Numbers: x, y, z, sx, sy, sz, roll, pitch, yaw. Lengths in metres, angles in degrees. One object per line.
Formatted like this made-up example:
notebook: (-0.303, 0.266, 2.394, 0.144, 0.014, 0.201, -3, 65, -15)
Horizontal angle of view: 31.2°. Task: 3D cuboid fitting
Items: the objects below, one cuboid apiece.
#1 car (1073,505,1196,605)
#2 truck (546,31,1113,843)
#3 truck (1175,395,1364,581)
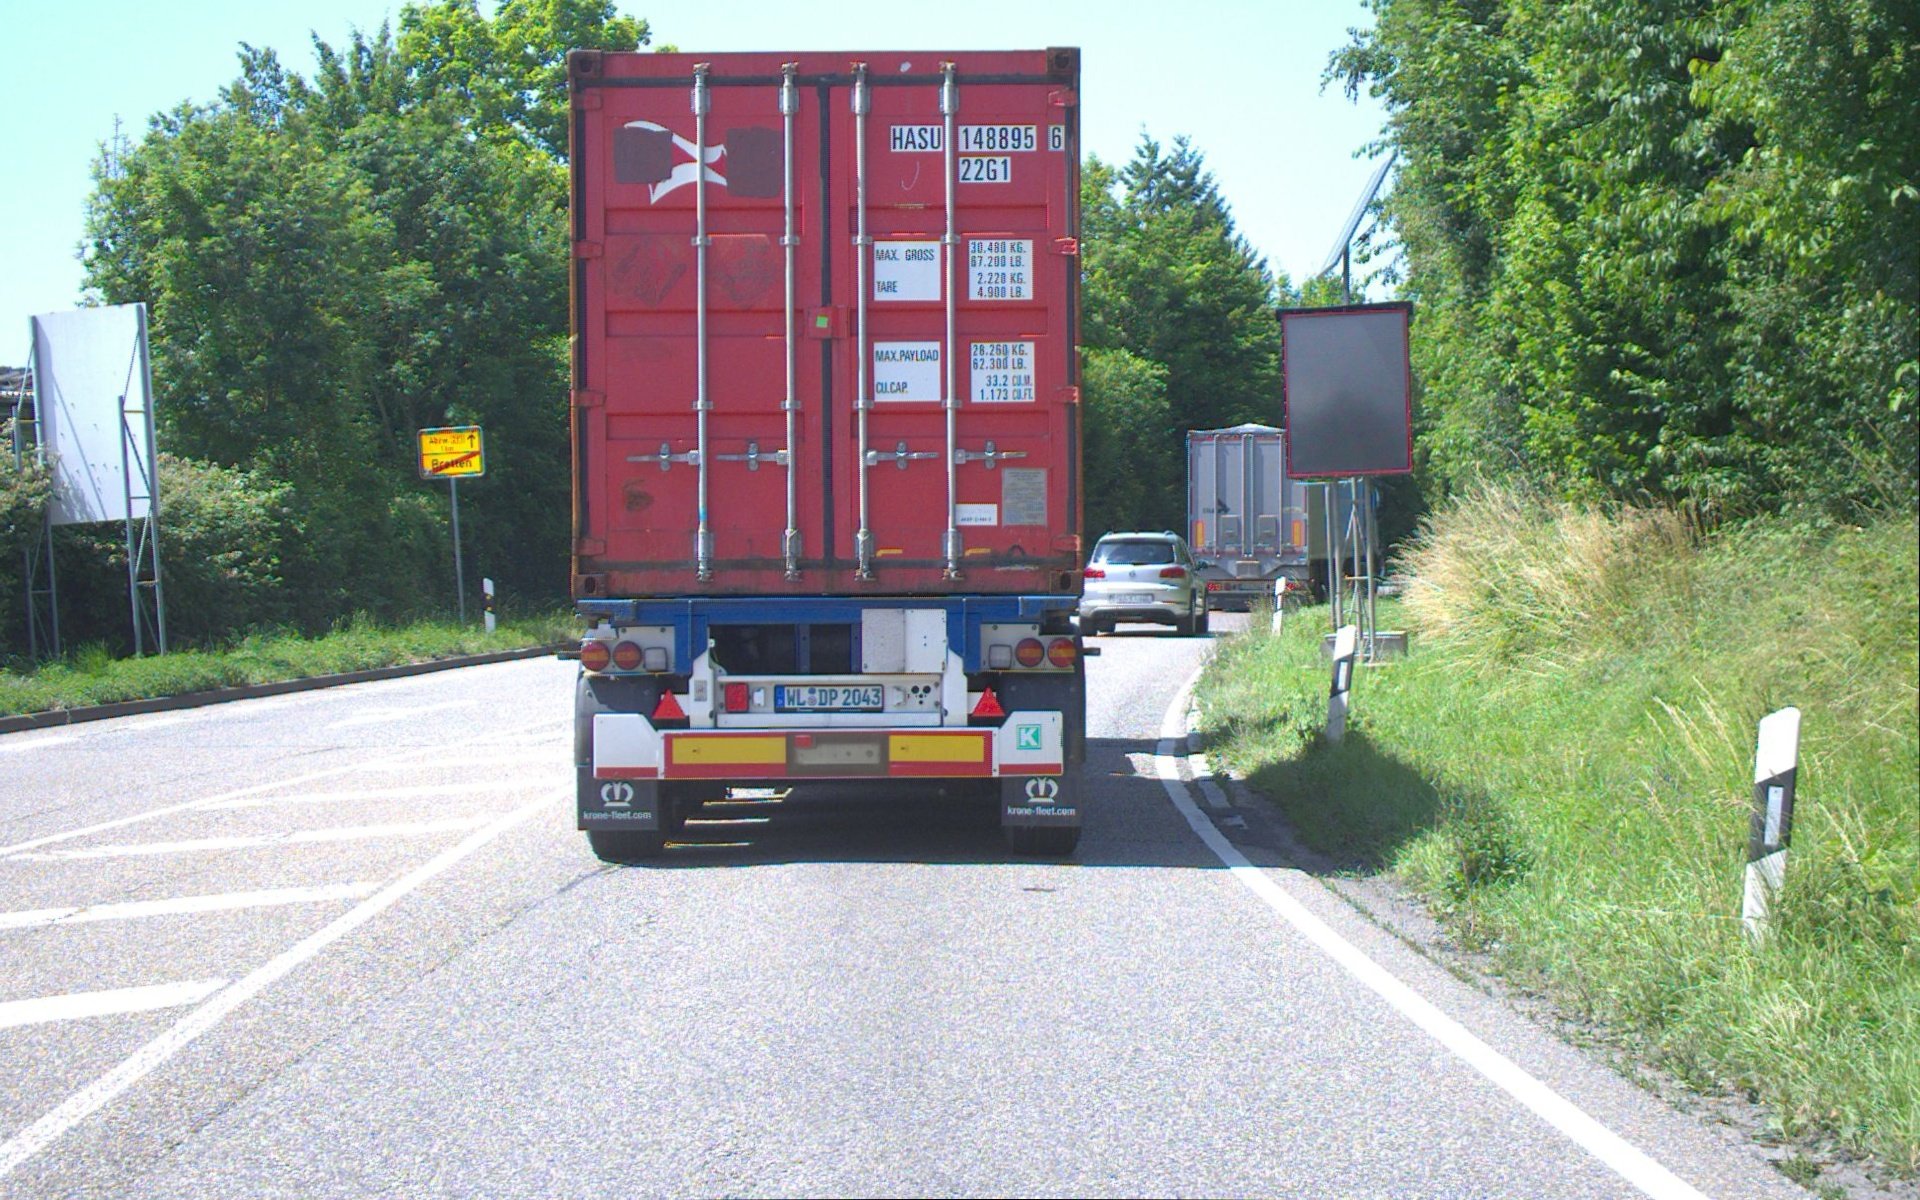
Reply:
car: (2.882, -0.762, 56.108, 1.833, 1.428, 4.000, -4, 2, 4)
truck: (-0.617, -0.901, 22.752, 2.647, 3.793, 13.360, 0, 1, 0)
truck: (7.218, -2.607, 78.256, 2.923, 3.704, 13.355, -3, 2, 10)
